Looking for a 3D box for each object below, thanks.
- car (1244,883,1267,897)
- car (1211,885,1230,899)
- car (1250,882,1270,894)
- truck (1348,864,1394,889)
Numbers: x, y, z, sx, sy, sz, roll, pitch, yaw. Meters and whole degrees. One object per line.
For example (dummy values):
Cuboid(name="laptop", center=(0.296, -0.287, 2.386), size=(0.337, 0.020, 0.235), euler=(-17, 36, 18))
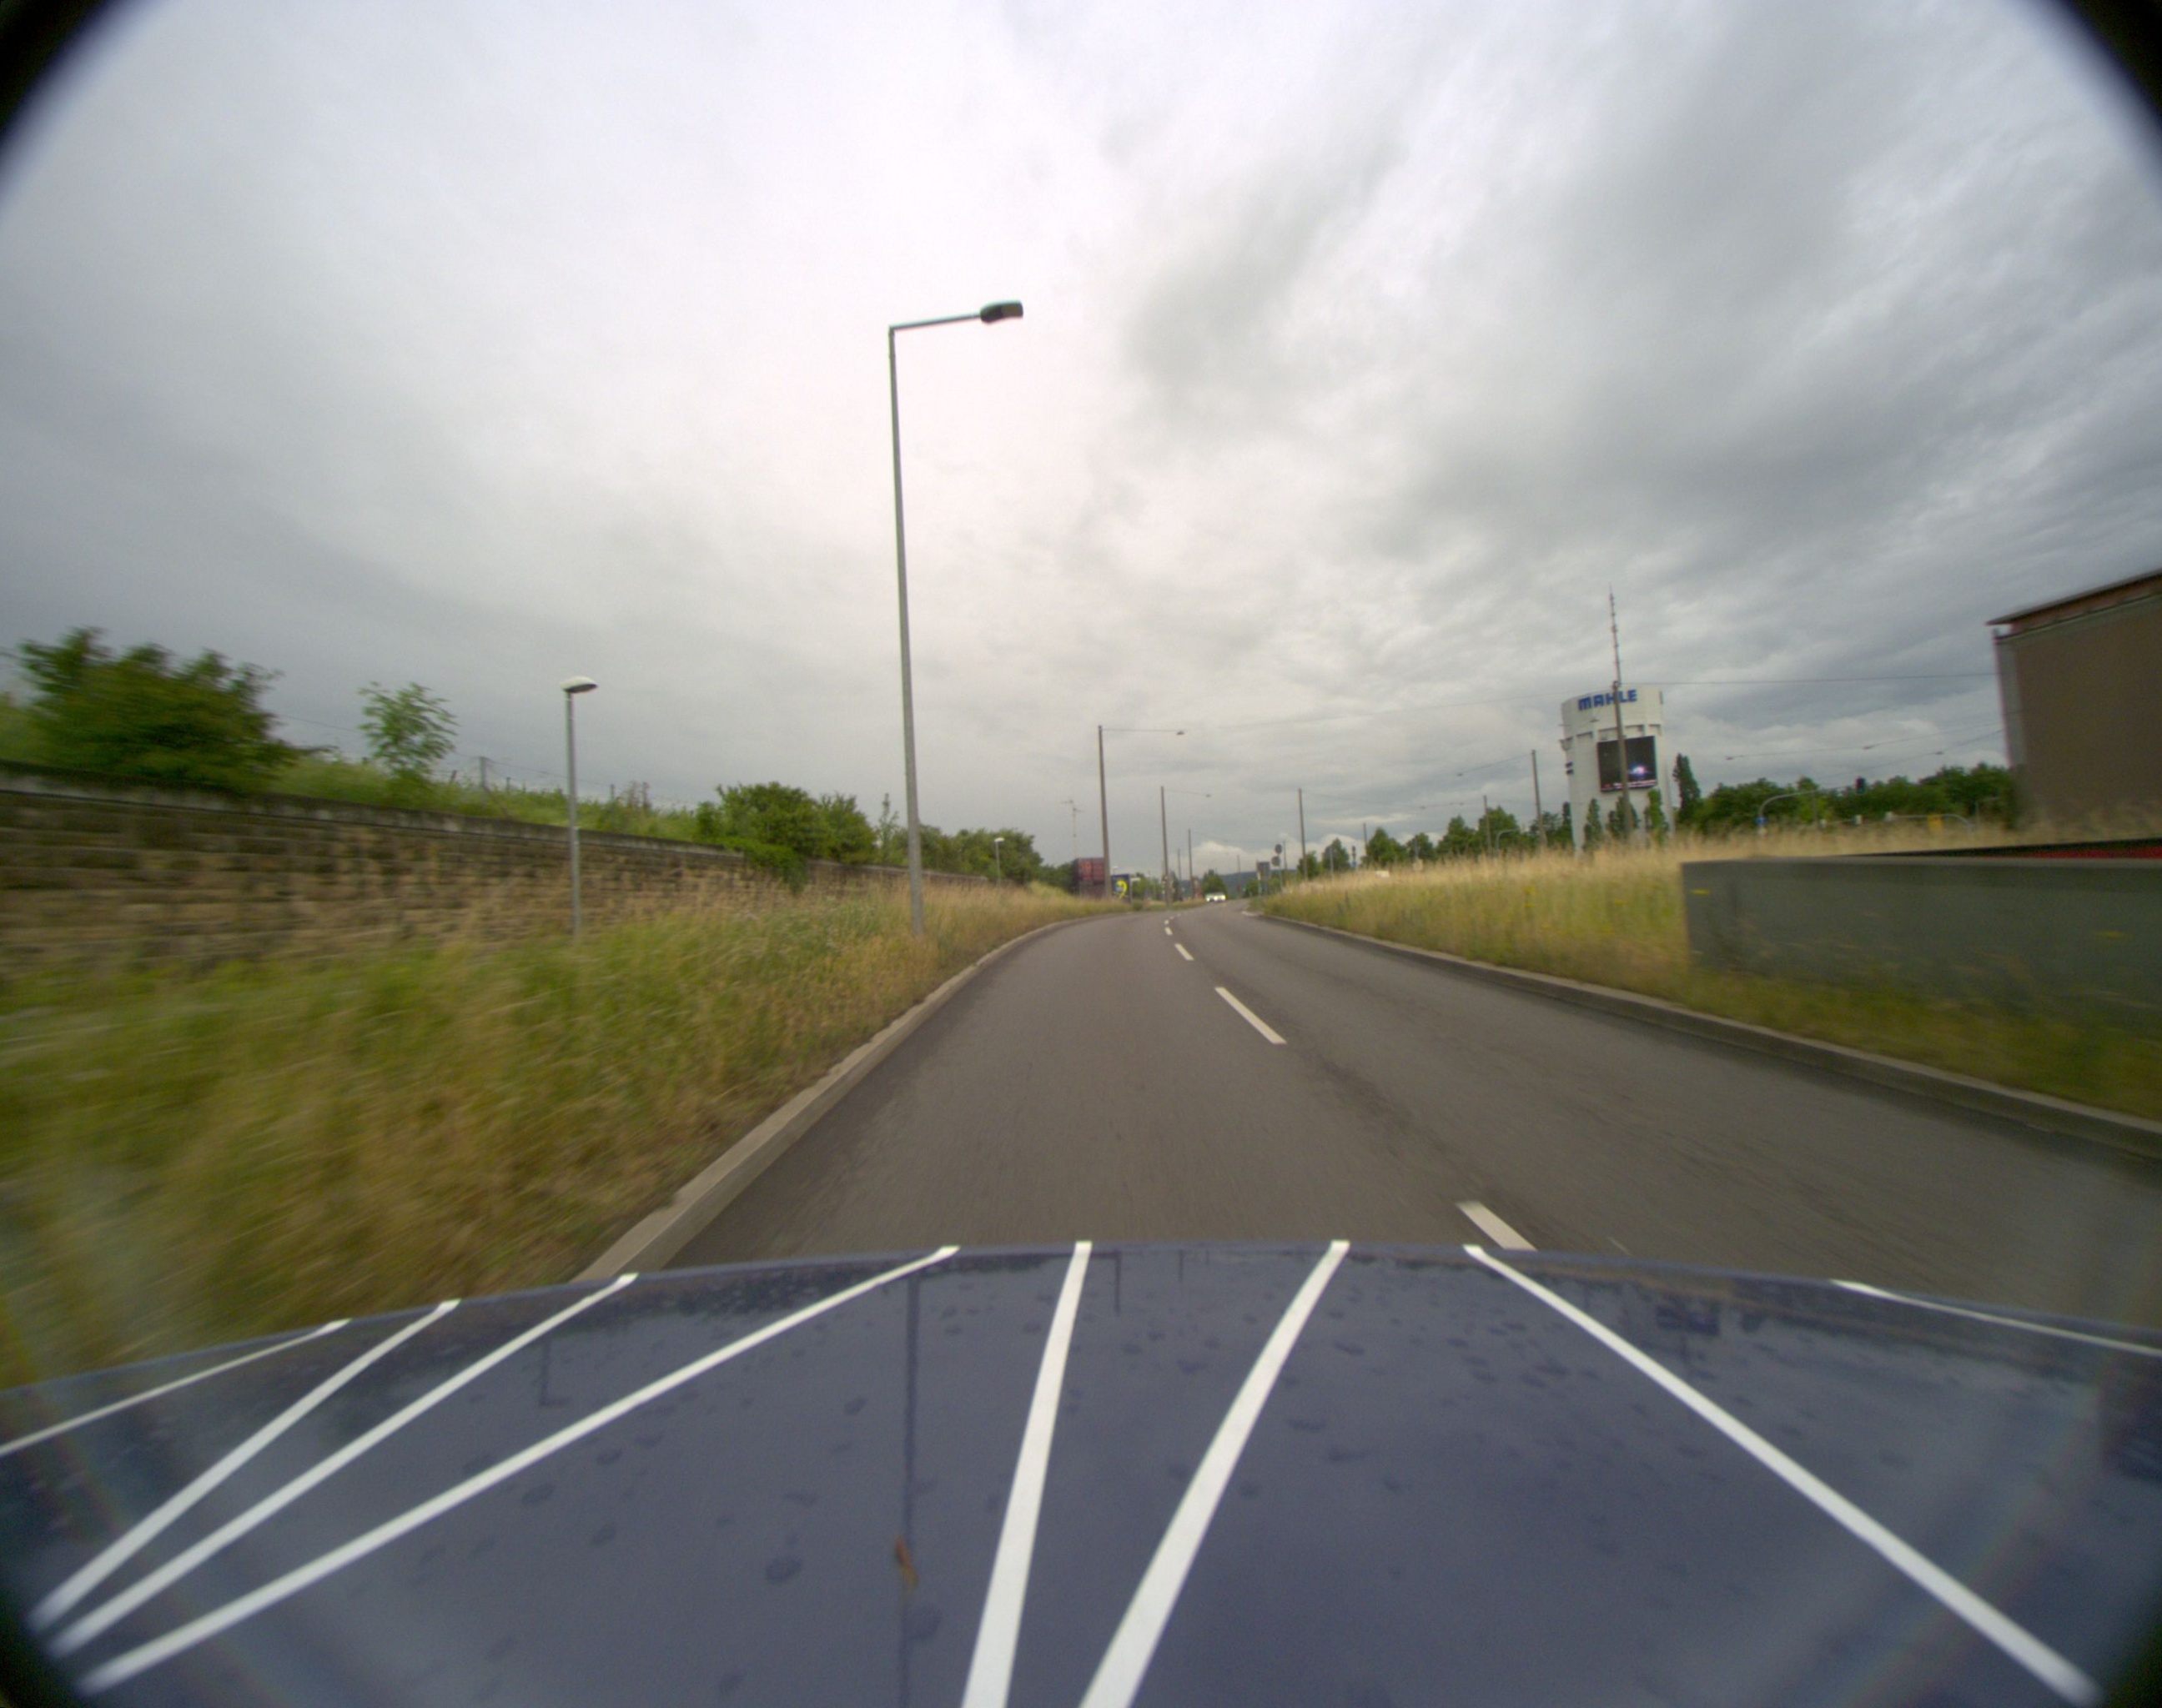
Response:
Cuboid(name="car", center=(25.769, 5.320, 112.258), size=(1.999, 1.771, 4.002), euler=(-5, -4, -4))
Cuboid(name="car", center=(21.700, 5.899, 118.296), size=(1.998, 2.000, 4.003), euler=(-5, -4, 1))
Cuboid(name="car", center=(31.147, 6.010, 132.671), size=(1.999, 1.789, 5.173), euler=(-5, -4, -2))
Cuboid(name="truck", center=(38.936, 3.027, 102.297), size=(2.132, 2.816, 6.027), euler=(-4, -4, -19))
